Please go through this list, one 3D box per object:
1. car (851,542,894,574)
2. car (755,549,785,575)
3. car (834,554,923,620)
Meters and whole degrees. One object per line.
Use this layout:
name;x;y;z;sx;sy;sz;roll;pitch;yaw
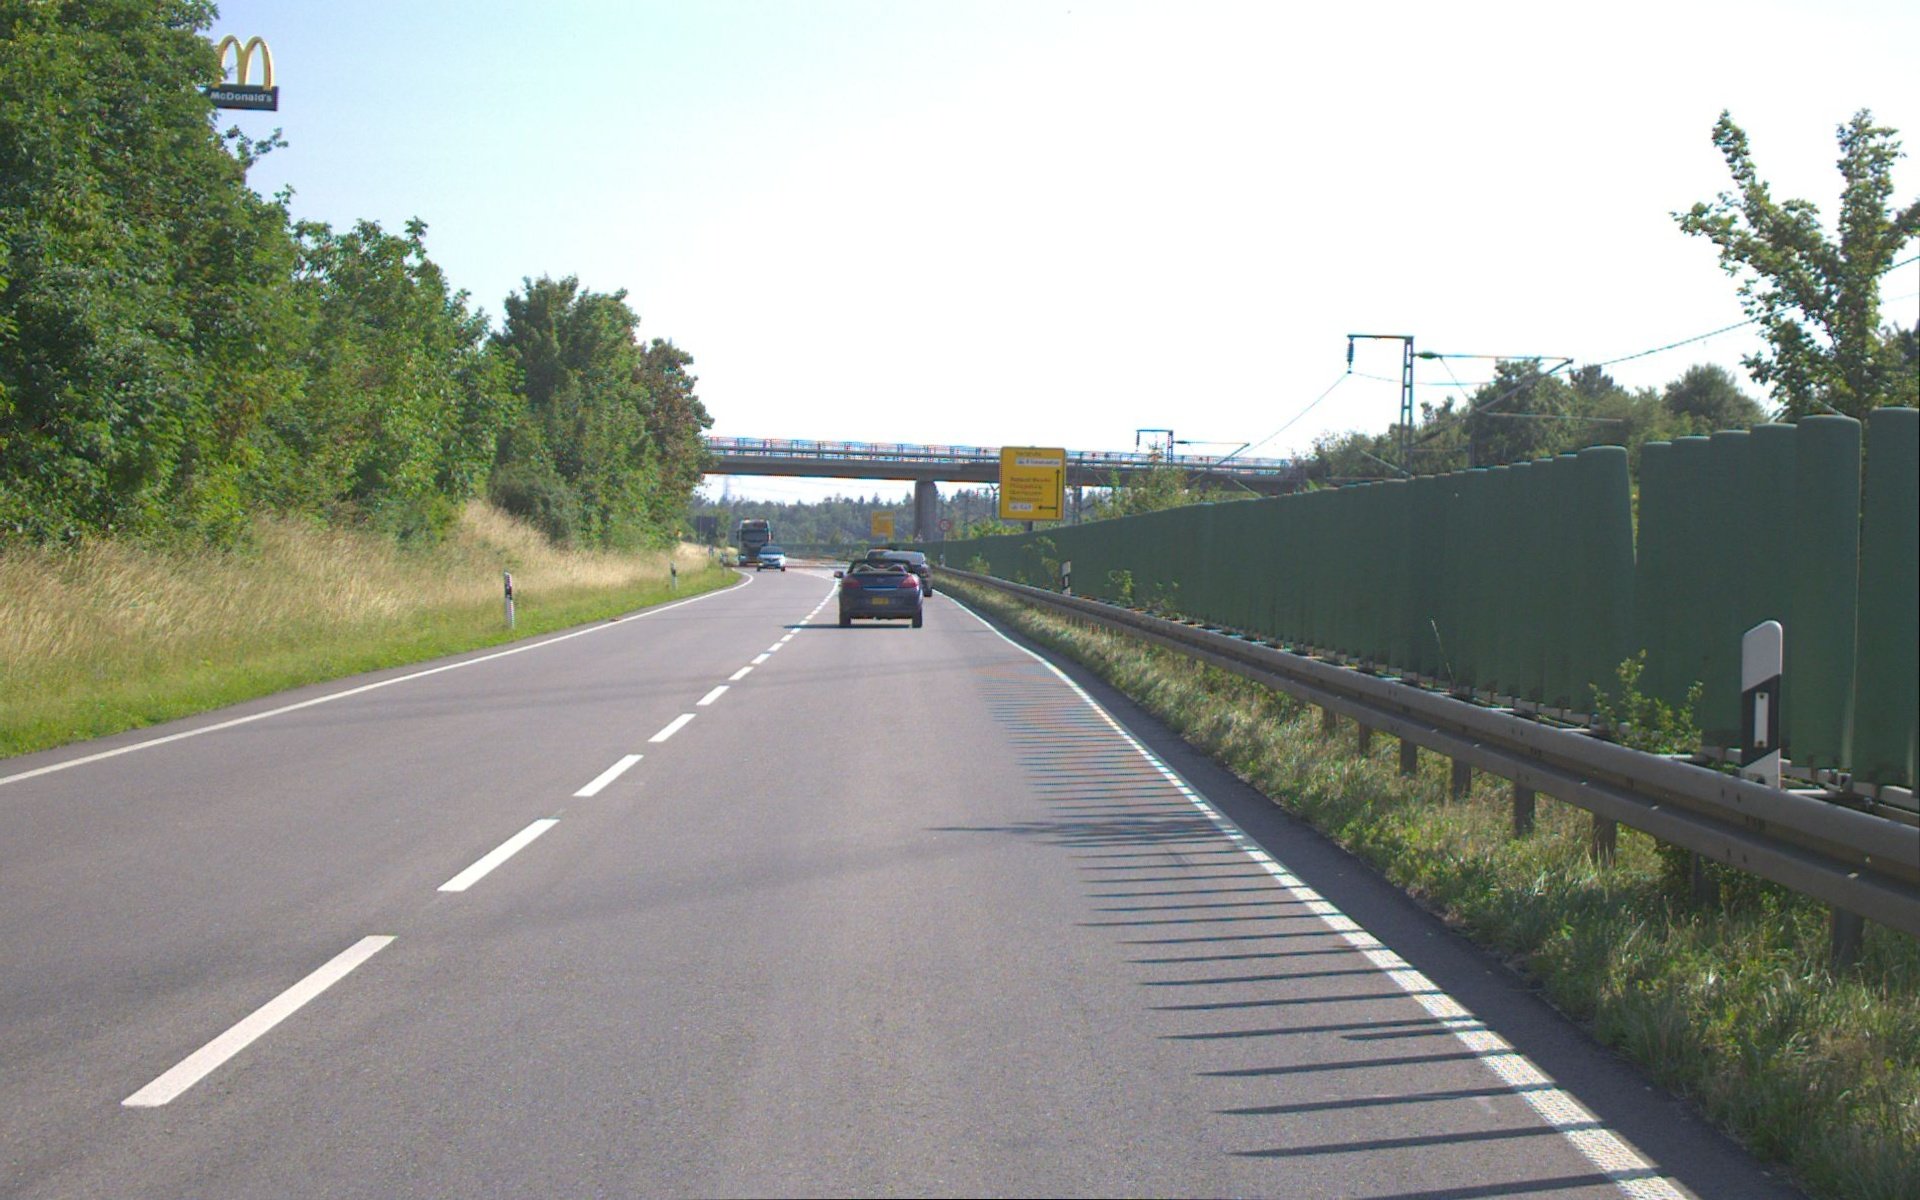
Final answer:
car;-4.077;-1.936;159.008;1.895;1.413;4.000;1;1;-3
car;-11.862;-2.391;215.244;1.795;1.588;4.000;1;1;-2
car;-1.648;-0.274;68.350;1.663;1.257;4.000;1;1;-3
